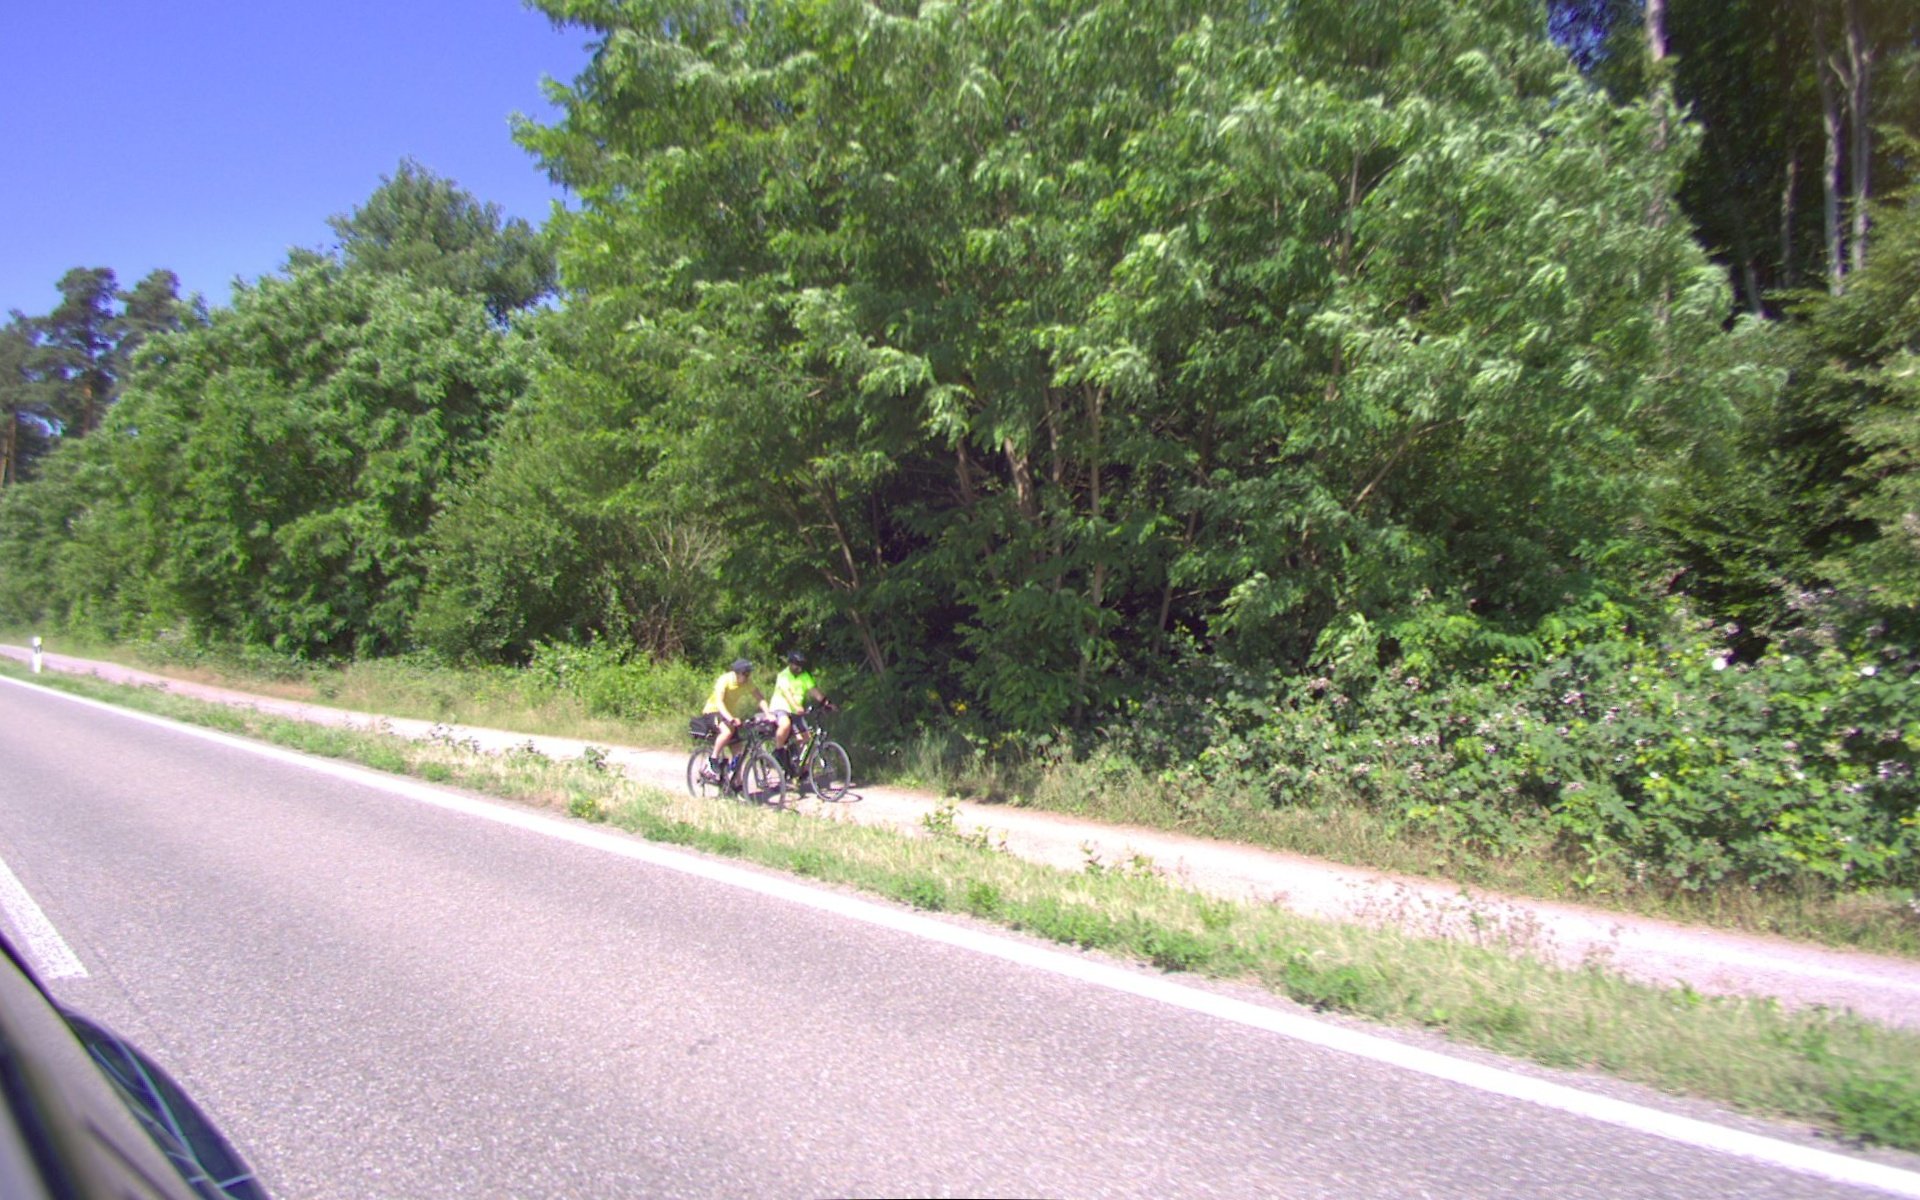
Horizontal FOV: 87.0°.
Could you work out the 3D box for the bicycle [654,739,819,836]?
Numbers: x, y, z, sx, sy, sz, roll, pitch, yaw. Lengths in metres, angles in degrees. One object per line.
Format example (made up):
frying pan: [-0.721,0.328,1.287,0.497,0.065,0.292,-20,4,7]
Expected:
bicycle: [-2.521,2.041,11.266,2.136,0.794,0.633,-2,-4,41]

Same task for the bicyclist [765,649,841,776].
bicyclist: [-1.911,1.341,12.316,0.702,1.426,0.599,1,2,41]

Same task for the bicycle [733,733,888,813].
bicycle: [-1.845,2.054,12.249,2.136,0.686,0.612,-2,-1,41]

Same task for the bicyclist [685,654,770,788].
bicyclist: [-2.616,1.337,11.401,0.702,1.426,0.599,-2,-4,41]
